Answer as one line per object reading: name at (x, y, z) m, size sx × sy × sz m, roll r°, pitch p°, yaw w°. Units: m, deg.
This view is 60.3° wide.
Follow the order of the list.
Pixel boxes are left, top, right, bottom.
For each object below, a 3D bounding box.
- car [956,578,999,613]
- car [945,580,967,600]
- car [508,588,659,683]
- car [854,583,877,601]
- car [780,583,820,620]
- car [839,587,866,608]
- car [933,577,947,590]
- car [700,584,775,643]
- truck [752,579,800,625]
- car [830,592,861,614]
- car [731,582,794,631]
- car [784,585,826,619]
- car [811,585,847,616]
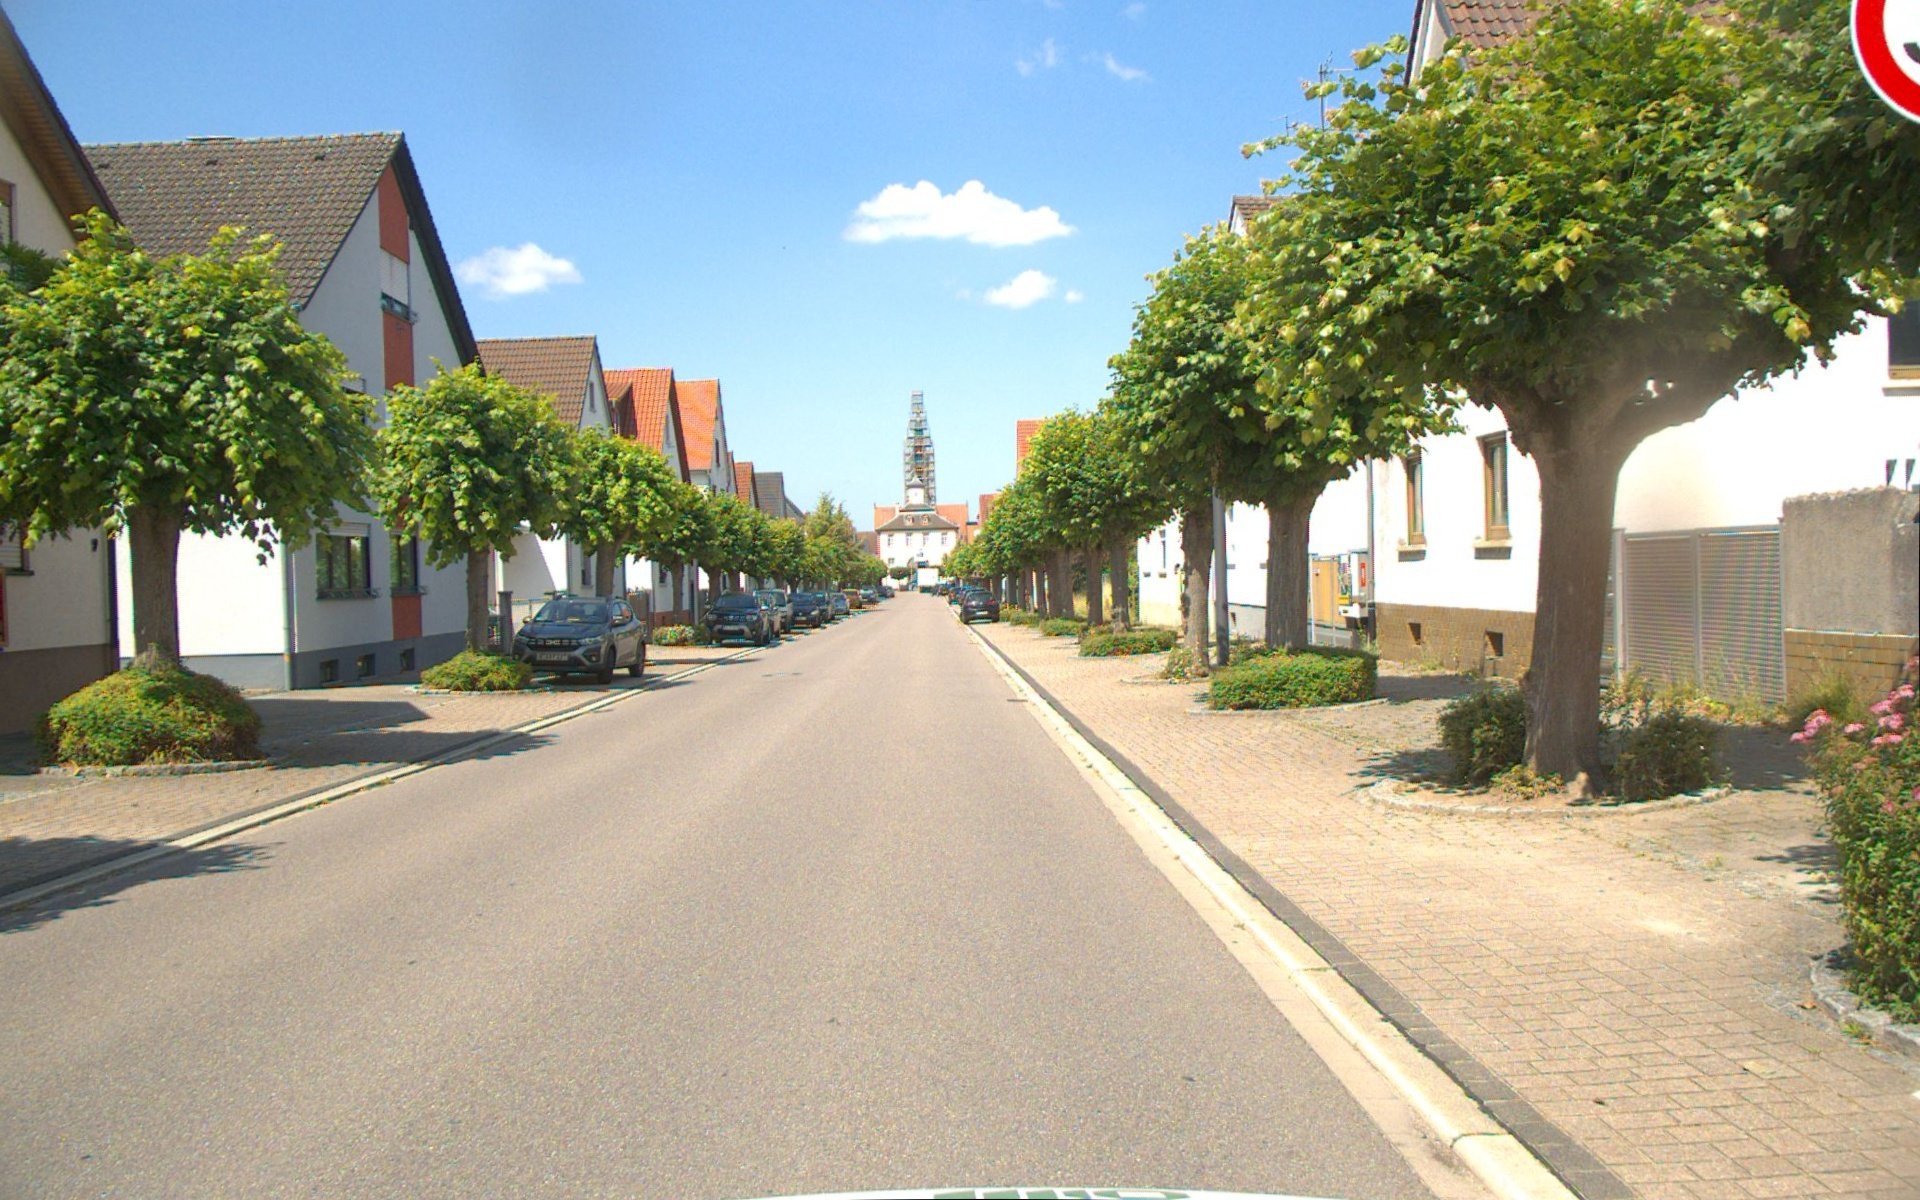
car at (0.788, -0.220, 76.691) m, size 1.787 × 1.457 × 4.056 m, roll -3°, pitch 1°, yaw -1°
car at (-0.389, -0.894, 146.408) m, size 1.800 × 1.582 × 4.312 m, roll -3°, pitch 1°, yaw -2°
car at (-6.966, 0.617, 31.034) m, size 1.815 × 1.641 × 4.135 m, roll 1°, pitch 0°, yaw 1°
car at (-9.153, -0.749, 160.393) m, size 1.953 × 1.639 × 4.689 m, roll 1°, pitch 1°, yaw 0°
car at (-7.383, 0.047, 75.995) m, size 1.751 × 1.662 × 3.994 m, roll 0°, pitch 0°, yaw -7°
car at (-8.959, -0.225, 138.485) m, size 1.953 × 1.639 × 4.688 m, roll 0°, pitch 0°, yaw 0°
car at (-2.476, -2.035, 202.722) m, size 1.694 × 1.574 × 3.454 m, roll 0°, pitch 0°, yaw -1°
car at (-6.853, 0.379, 51.383) m, size 1.815 × 1.665 × 4.298 m, roll 1°, pitch 1°, yaw -1°
truck at (-7.514, 0.081, 67.774) m, size 1.544 × 1.796 × 4.191 m, roll 1°, pitch 0°, yaw -1°
car at (-7.523, 0.197, 109.070) m, size 1.803 × 1.420 × 4.405 m, roll 0°, pitch 0°, yaw -2°
car at (-7.088, 0.227, 59.587) m, size 1.815 × 1.641 × 4.369 m, roll 1°, pitch 0°, yaw -1°
car at (-7.868, 0.114, 84.342) m, size 1.815 × 1.664 × 4.055 m, roll 0°, pitch 0°, yaw -1°
car at (-7.433, 0.018, 94.034) m, size 1.954 × 1.681 × 4.363 m, roll 0°, pitch 0°, yaw -5°
